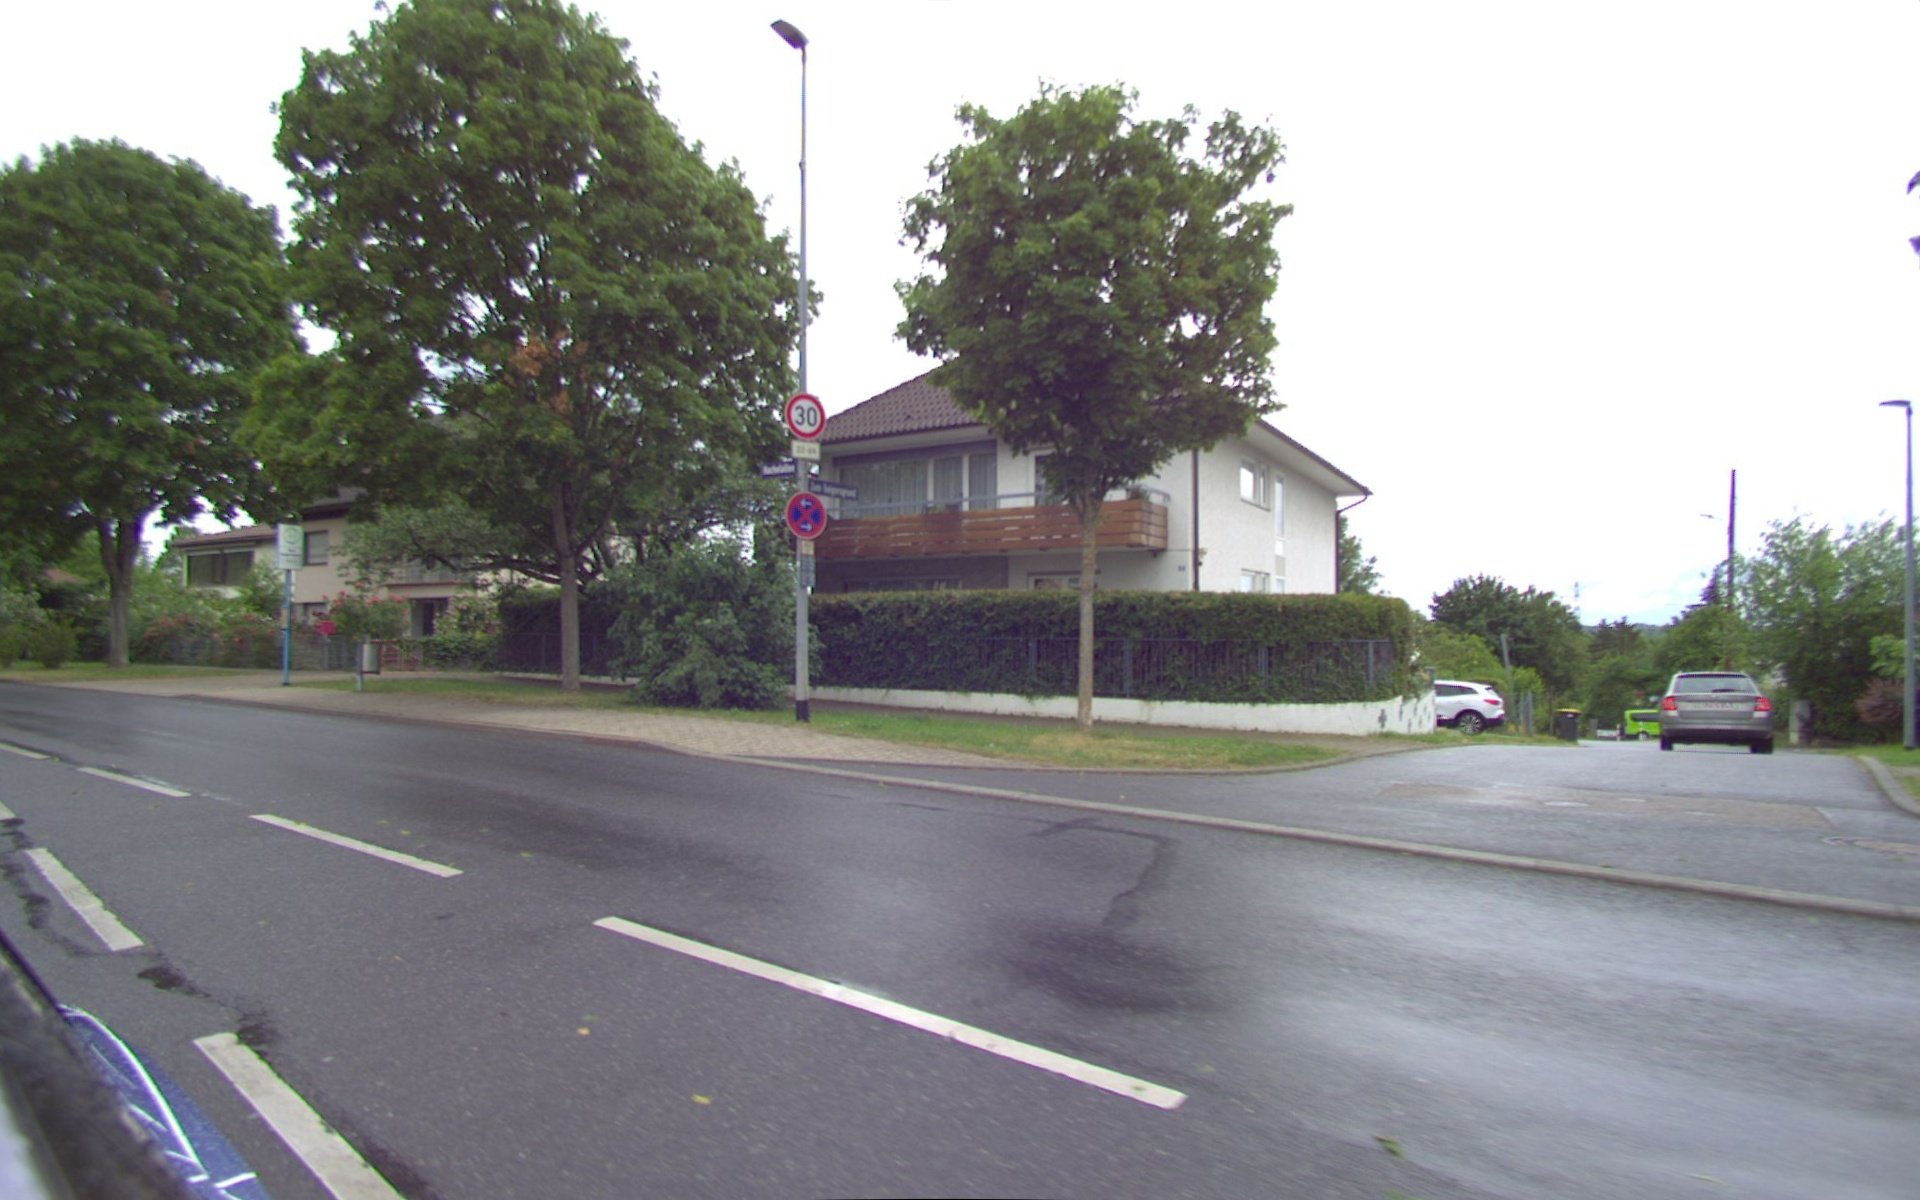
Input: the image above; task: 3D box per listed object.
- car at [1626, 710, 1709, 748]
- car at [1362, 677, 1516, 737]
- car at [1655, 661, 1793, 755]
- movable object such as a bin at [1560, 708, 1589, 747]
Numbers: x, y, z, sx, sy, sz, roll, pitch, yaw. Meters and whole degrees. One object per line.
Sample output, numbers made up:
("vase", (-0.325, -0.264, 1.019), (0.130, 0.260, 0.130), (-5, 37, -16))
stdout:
("car", (43.134, 7.843, 61.847), (3.989, 2.103, 1.779), (-4, -4, 34))
("car", (14.556, 3.200, 30.788), (4.037, 1.519, 1.978), (-1, -2, 33))
("car", (14.109, 1.908, 18.772), (1.843, 1.498, 3.950), (-1, -3, 37))
("movable object such as a bin", (16.881, 3.504, 27.796), (0.651, 0.987, 0.583), (-1, -2, 34))
